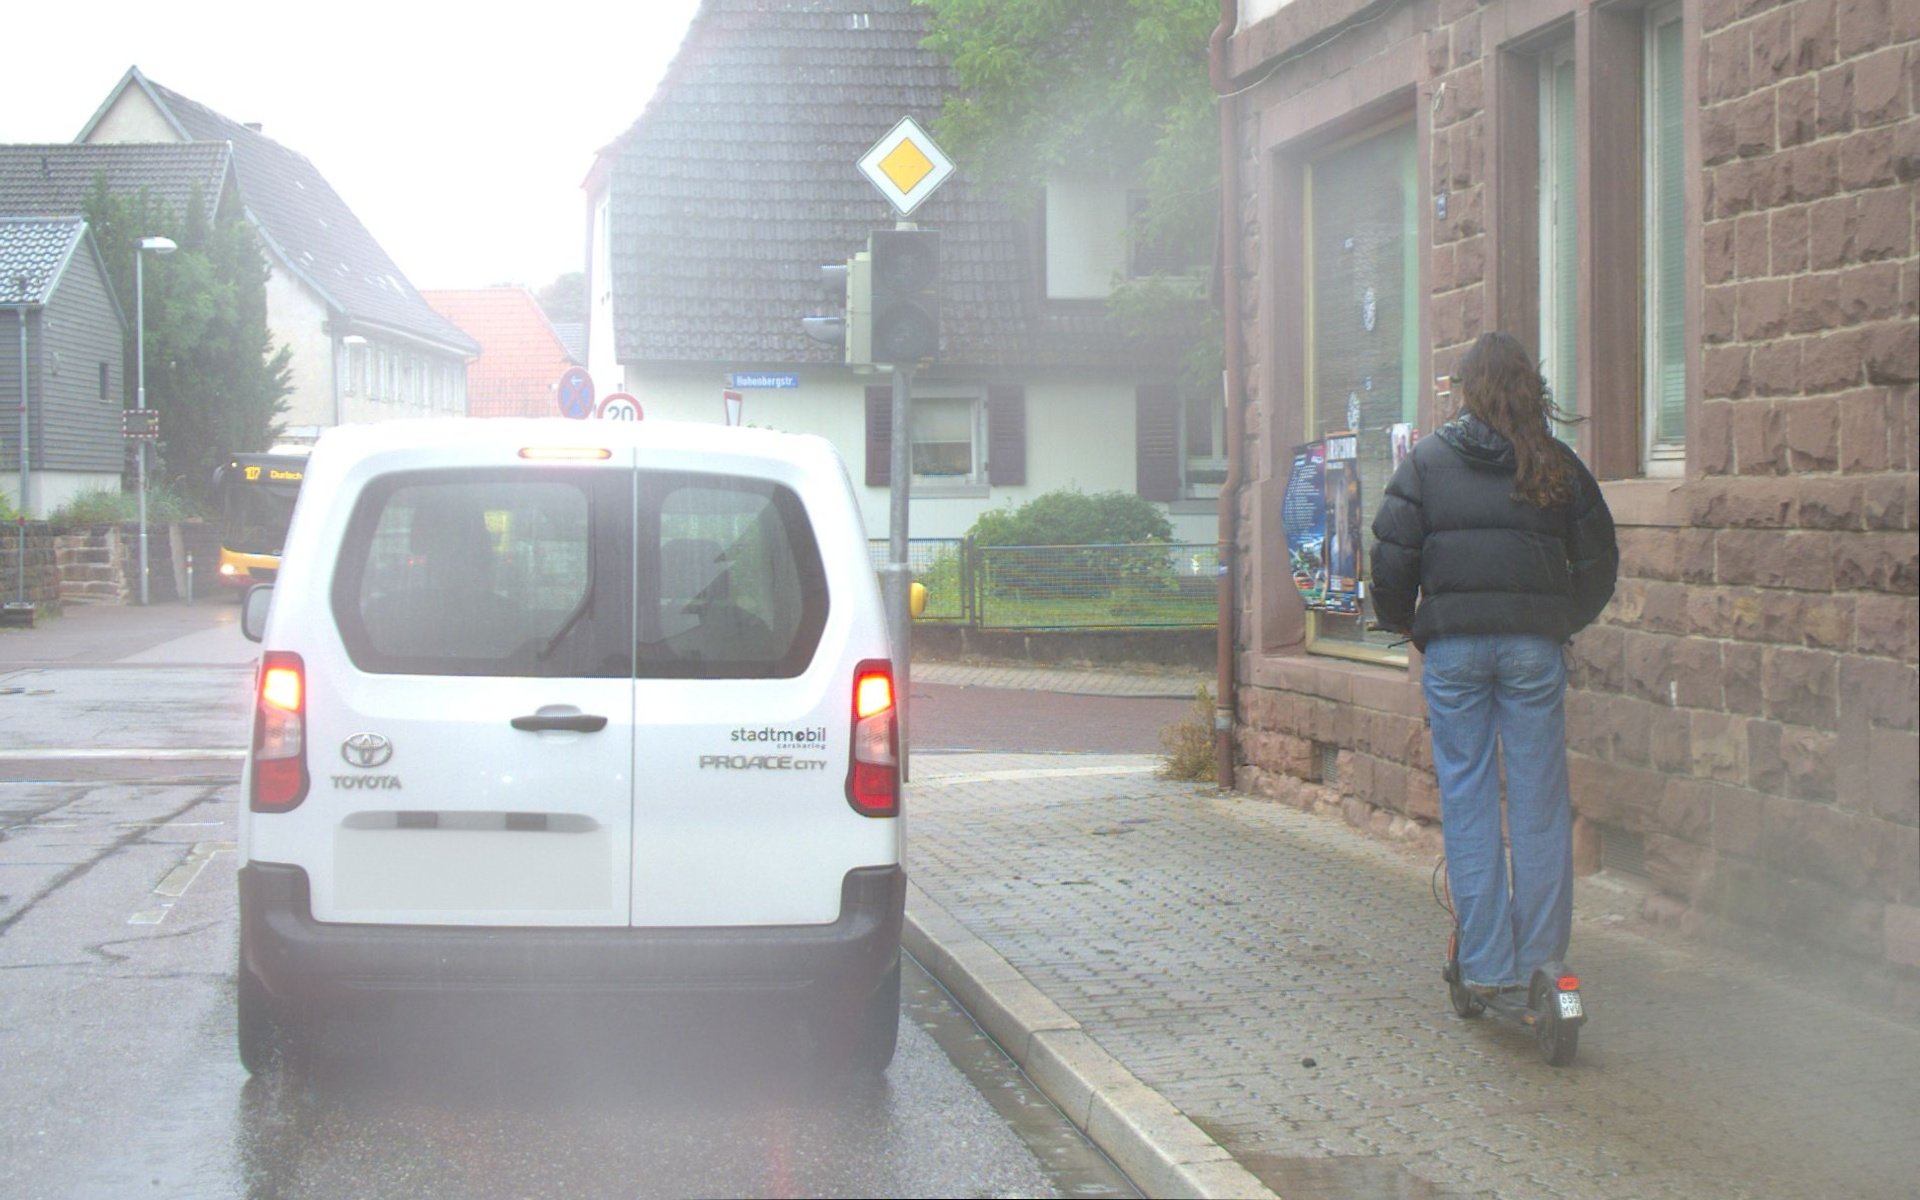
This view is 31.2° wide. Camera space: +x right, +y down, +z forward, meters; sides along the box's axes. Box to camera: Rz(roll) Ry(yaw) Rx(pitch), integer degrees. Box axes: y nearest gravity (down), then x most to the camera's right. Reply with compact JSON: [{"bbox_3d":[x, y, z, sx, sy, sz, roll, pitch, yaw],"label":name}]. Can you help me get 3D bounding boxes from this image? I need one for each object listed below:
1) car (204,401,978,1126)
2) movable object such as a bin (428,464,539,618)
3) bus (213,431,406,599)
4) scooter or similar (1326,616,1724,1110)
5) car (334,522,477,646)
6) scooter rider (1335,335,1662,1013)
[{"bbox_3d":[-1.175,0.373,10.490,1.894,1.787,3.814,1,1,-8],"label":"car"},{"bbox_3d":[-8.549,-1.075,61.866,1.726,2.644,3.975,1,1,-5],"label":"movable object such as a bin"},{"bbox_3d":[-12.712,-1.822,68.105,2.649,2.989,12.196,0,3,-5],"label":"bus"},{"bbox_3d":[1.429,0.632,8.936,0.620,1.123,1.402,0,2,-8],"label":"scooter or similar"},{"bbox_3d":[-7.541,-0.251,47.029,1.809,1.591,3.757,1,1,-8],"label":"car"},{"bbox_3d":[1.411,0.186,9.070,0.730,1.727,0.518,0,0,-8],"label":"scooter rider"}]
